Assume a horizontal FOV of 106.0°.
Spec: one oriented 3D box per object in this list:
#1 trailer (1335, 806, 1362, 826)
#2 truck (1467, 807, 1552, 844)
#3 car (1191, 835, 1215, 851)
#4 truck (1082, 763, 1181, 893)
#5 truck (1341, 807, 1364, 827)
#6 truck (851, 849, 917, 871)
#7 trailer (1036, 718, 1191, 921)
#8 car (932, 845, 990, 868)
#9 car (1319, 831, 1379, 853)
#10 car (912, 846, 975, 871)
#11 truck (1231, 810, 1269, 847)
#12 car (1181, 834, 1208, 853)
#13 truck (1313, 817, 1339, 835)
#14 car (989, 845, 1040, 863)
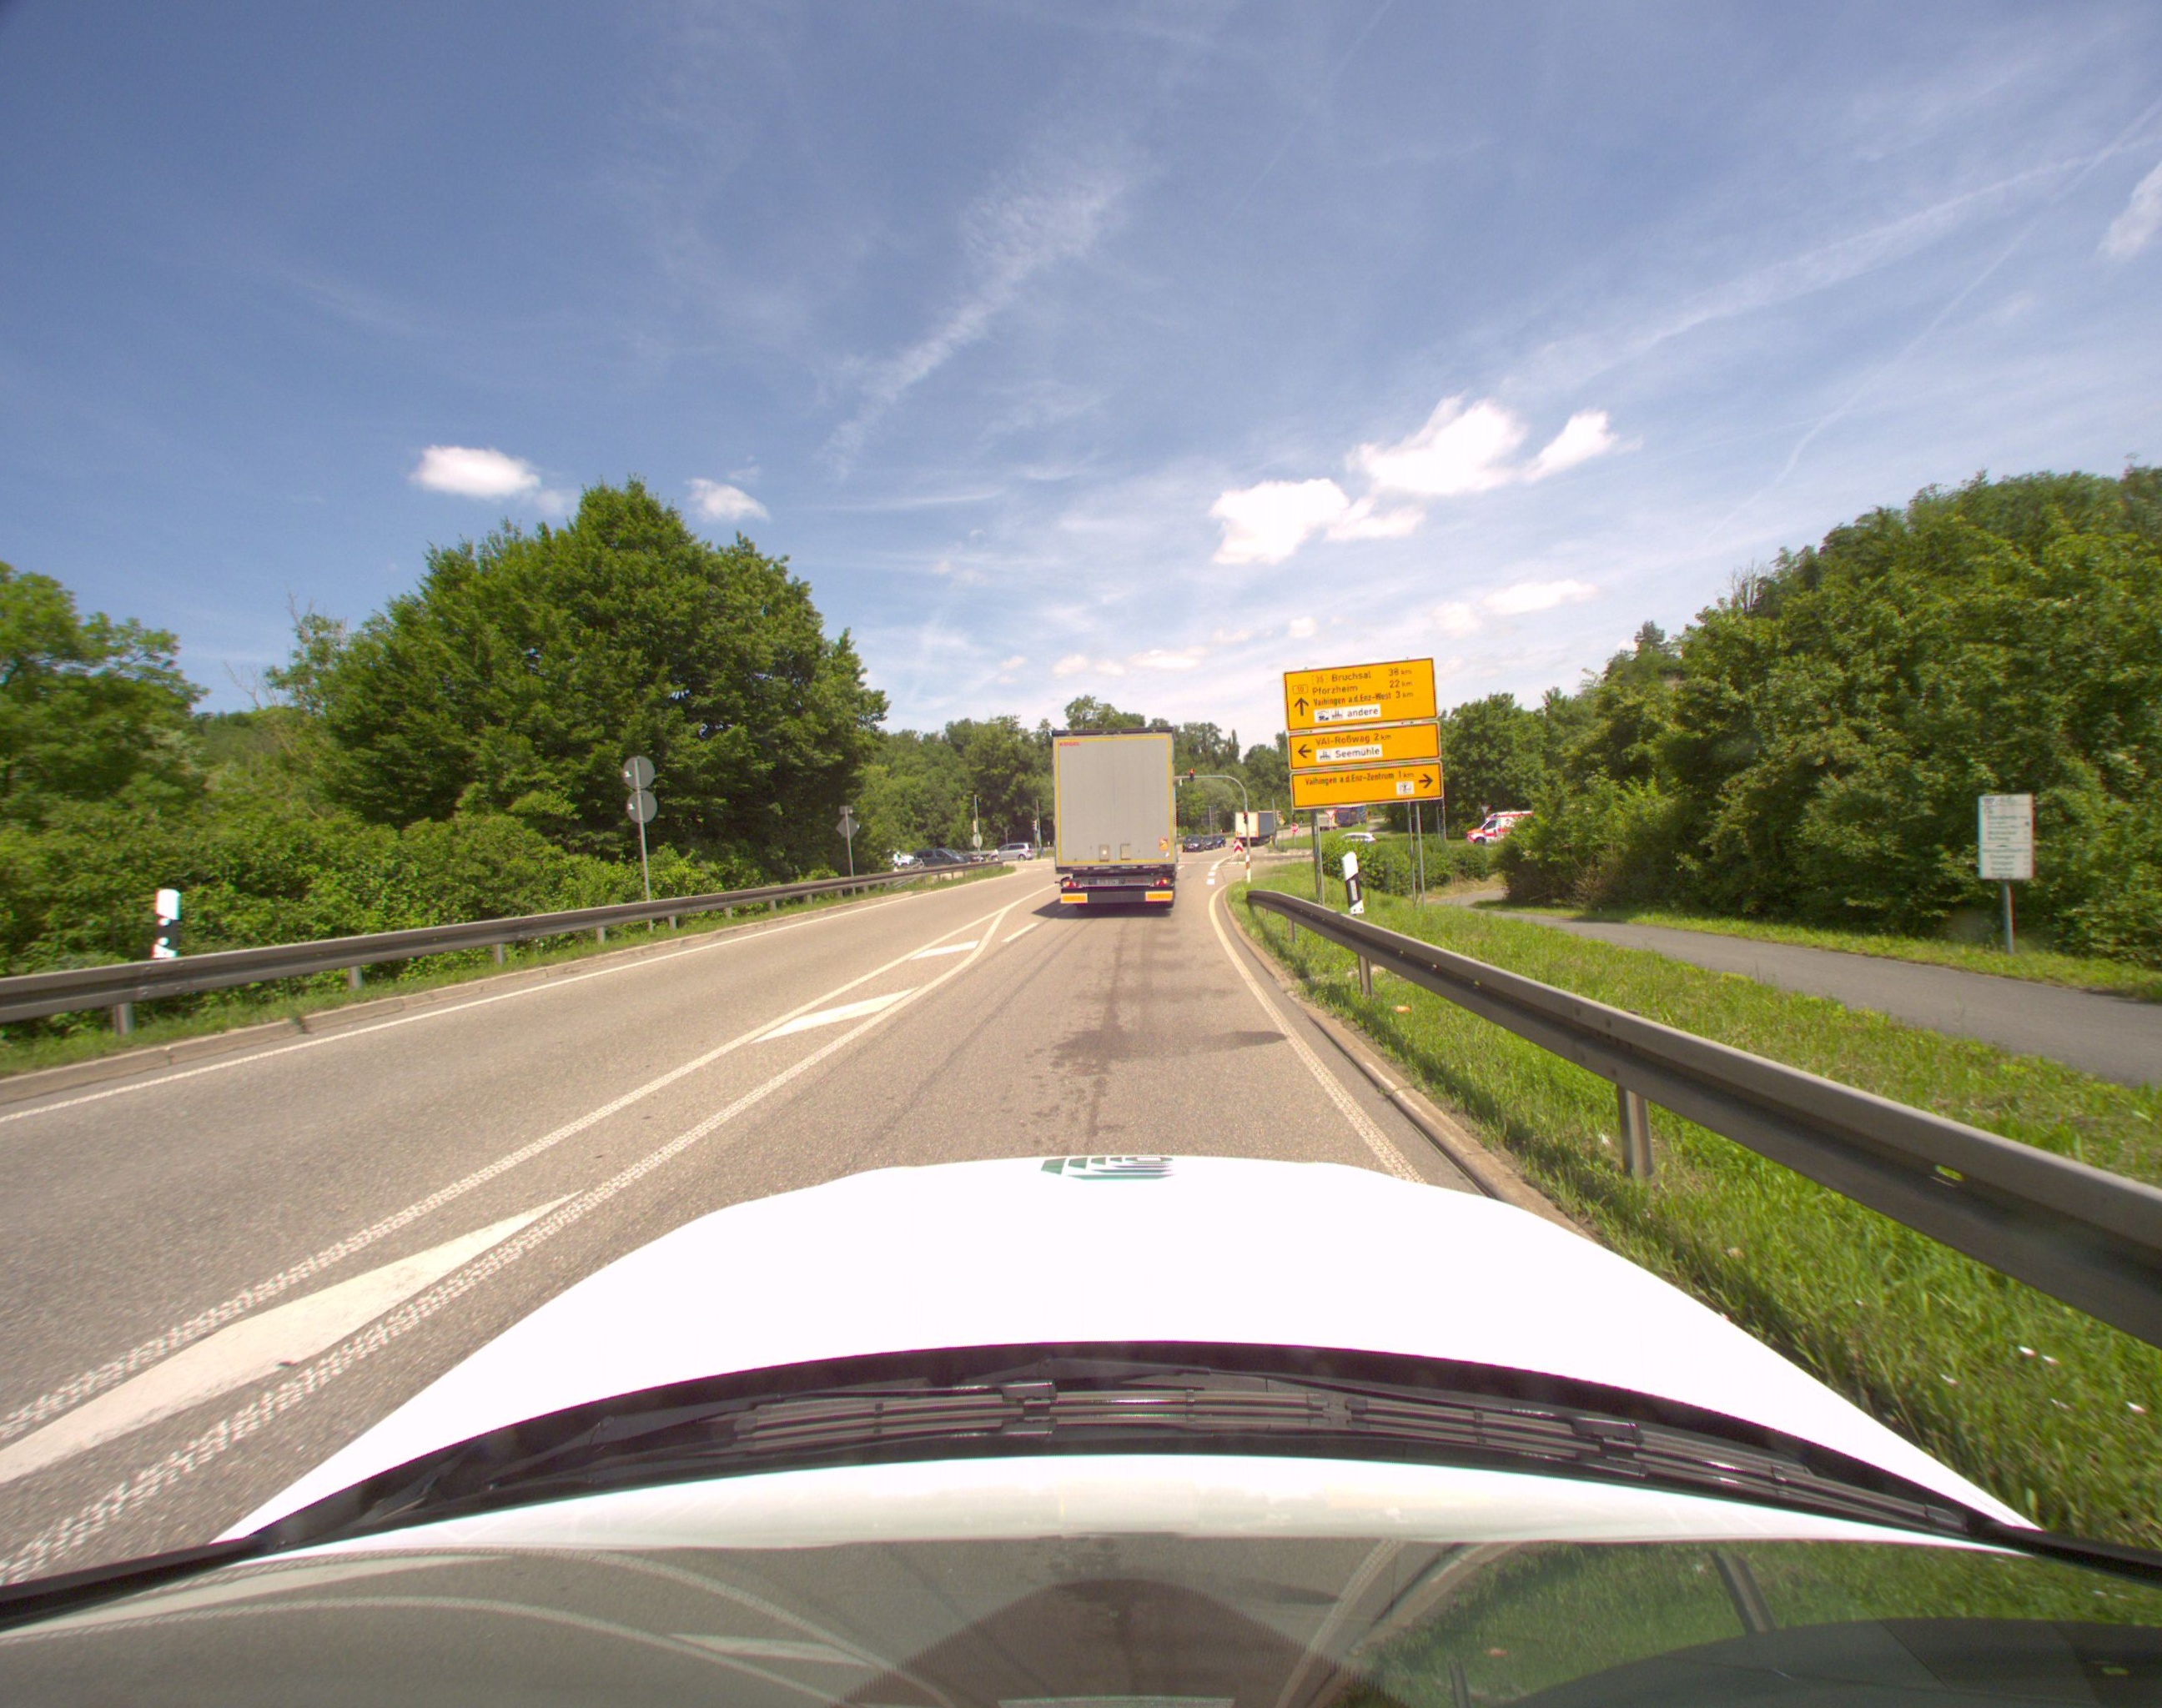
[{"bbox_3d":[52.539,-7.321,160.002,3.220,3.685,9.309,-1,1,30],"label":"trailer"},{"bbox_3d":[34.726,-2.293,66.114,5.954,2.728,2.517,-1,-1,28],"label":"truck"},{"bbox_3d":[13.016,-1.146,86.482,1.979,1.491,4.275,-1,-1,15],"label":"car"},{"bbox_3d":[1.946,-0.855,29.196,3.023,4.033,6.640,-2,1,6],"label":"truck"},{"bbox_3d":[54.617,-7.421,163.712,3.220,3.685,6.284,-1,1,29],"label":"truck"},{"bbox_3d":[-16.039,0.496,66.502,4.867,1.791,2.040,0,-1,-5],"label":"truck"},{"bbox_3d":[1.281,-0.768,22.840,3.036,4.033,12.580,-2,1,6],"label":"trailer"},{"bbox_3d":[-9.804,0.195,66.629,4.200,1.770,2.009,-2,0,17],"label":"car"},{"bbox_3d":[21.720,-0.958,66.146,4.397,1.718,2.007,-1,-1,12],"label":"car"},{"bbox_3d":[-10.540,0.316,62.549,4.200,1.770,2.009,-2,0,17],"label":"car"},{"bbox_3d":[20.142,-3.112,96.640,3.154,4.028,11.801,-1,2,17],"label":"truck"},{"bbox_3d":[11.171,-1.012,79.897,1.979,1.785,4.962,-1,0,15],"label":"car"},{"bbox_3d":[43.902,-4.998,145.936,2.828,2.947,7.149,-1,1,30],"label":"truck"},{"bbox_3d":[-5.831,-0.009,71.804,3.956,1.519,2.008,-1,-1,16],"label":"car"}]
